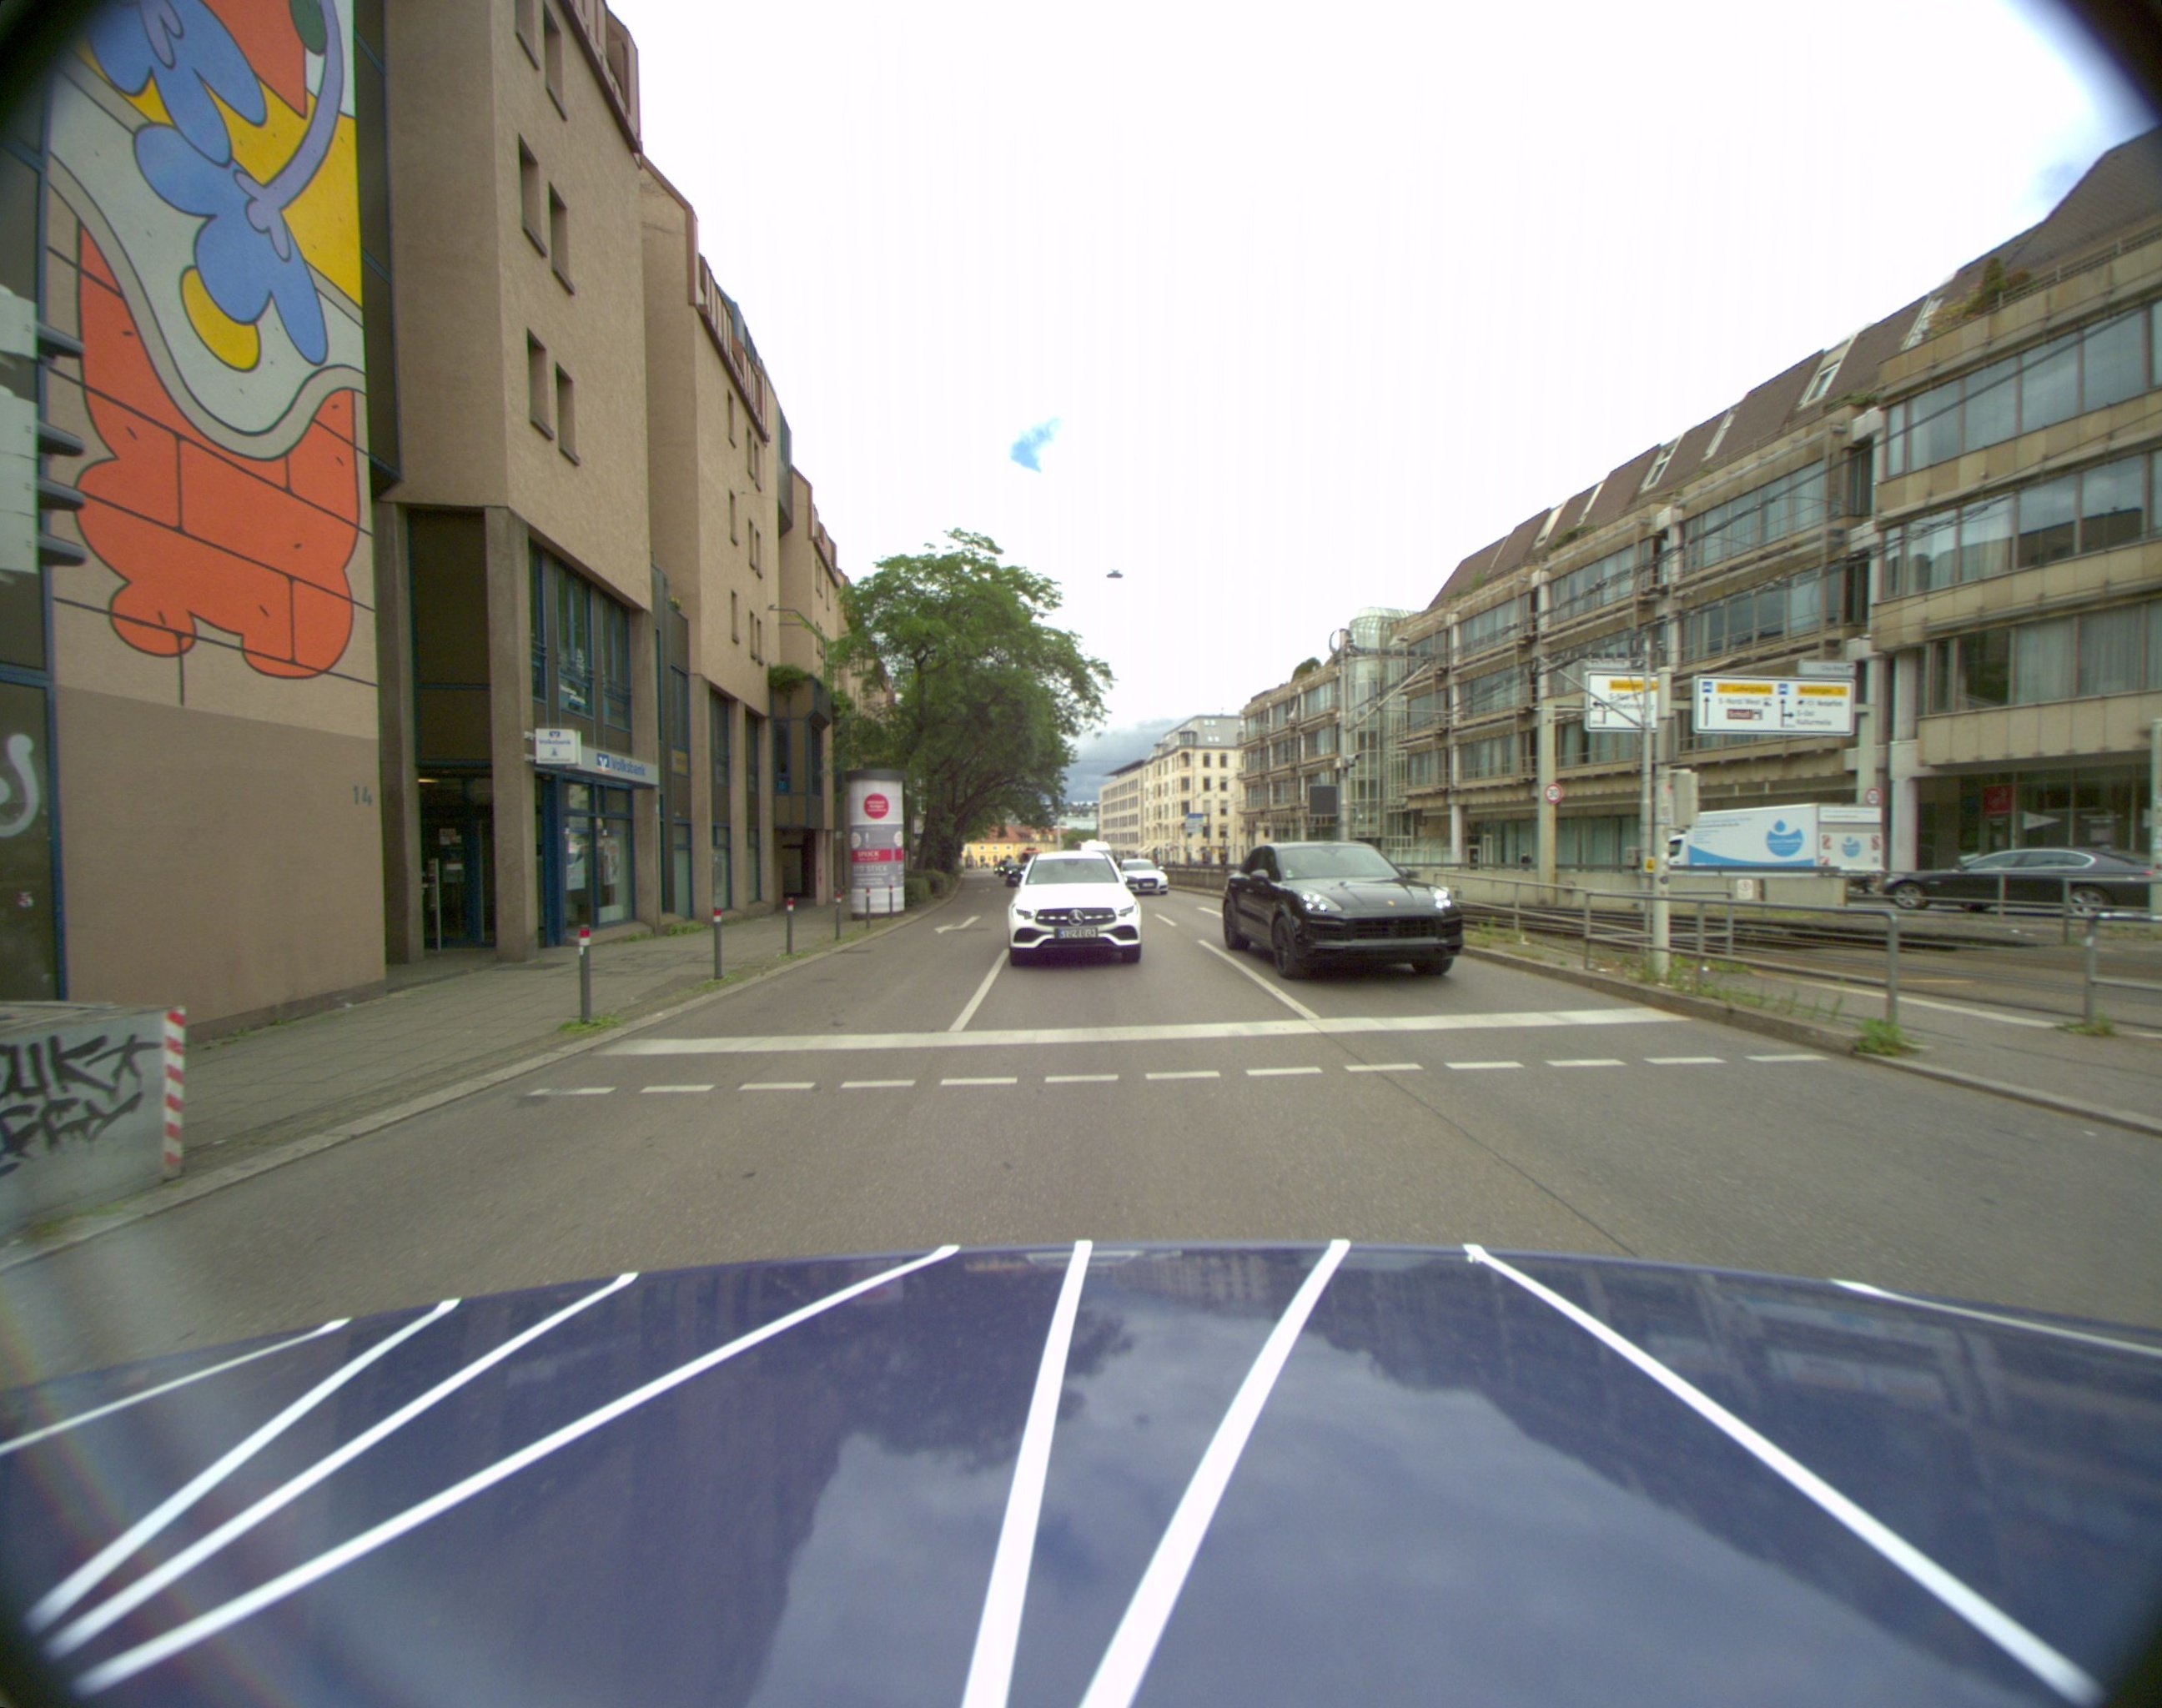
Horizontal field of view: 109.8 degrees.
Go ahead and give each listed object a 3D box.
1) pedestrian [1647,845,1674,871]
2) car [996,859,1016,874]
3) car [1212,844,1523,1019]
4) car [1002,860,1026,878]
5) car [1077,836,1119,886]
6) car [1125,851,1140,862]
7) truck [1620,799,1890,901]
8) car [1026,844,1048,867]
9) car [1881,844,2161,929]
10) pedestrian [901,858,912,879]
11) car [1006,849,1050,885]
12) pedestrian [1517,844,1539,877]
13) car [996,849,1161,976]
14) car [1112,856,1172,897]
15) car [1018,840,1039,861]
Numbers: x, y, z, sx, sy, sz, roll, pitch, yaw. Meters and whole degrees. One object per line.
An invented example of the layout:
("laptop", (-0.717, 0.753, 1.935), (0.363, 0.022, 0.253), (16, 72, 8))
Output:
("pedestrian", (28.820, 0.200, 37.782), (0.733, 1.258, 0.739), (-2, 1, -7))
("car", (-8.068, 1.345, 82.204), (1.950, 1.521, 3.998), (-2, 0, -3))
("car", (3.252, 0.763, 10.074), (2.088, 1.665, 5.352), (-1, 0, 0))
("car", (-5.979, 1.313, 68.203), (1.950, 1.521, 3.998), (-2, 0, -3))
("car", (0.942, 0.373, 45.179), (2.295, 2.723, 4.753), (-2, 0, 0))
("car", (9.883, 0.472, 145.679), (2.000, 2.002, 3.997), (-1, 0, -8))
("truck", (23.073, -0.121, 26.707), (2.274, 3.058, 7.369), (1, 0, -7))
("car", (-5.669, 0.161, 96.884), (2.504, 2.793, 5.724), (-2, 0, -6))
("car", (20.442, 0.597, 16.246), (1.662, 1.543, 4.533), (-1, 0, -5))
("pedestrian", (-14.328, 1.181, 62.362), (0.711, 1.701, 0.687), (-1, 0, -1))
("car", (-3.406, 0.786, 50.132), (2.503, 2.144, 5.727), (-2, 0, -1))
("pedestrian", (25.086, 0.342, 42.657), (0.733, 1.801, 0.739), (-2, 1, -7))
("car", (-0.229, 0.768, 12.062), (2.061, 1.599, 3.924), (-2, 0, -8))
("car", (2.451, 0.882, 31.471), (1.950, 1.521, 3.999), (-2, 0, -3))
("car", (-7.178, -0.466, 103.879), (2.504, 2.793, 5.724), (-2, 0, -6))
